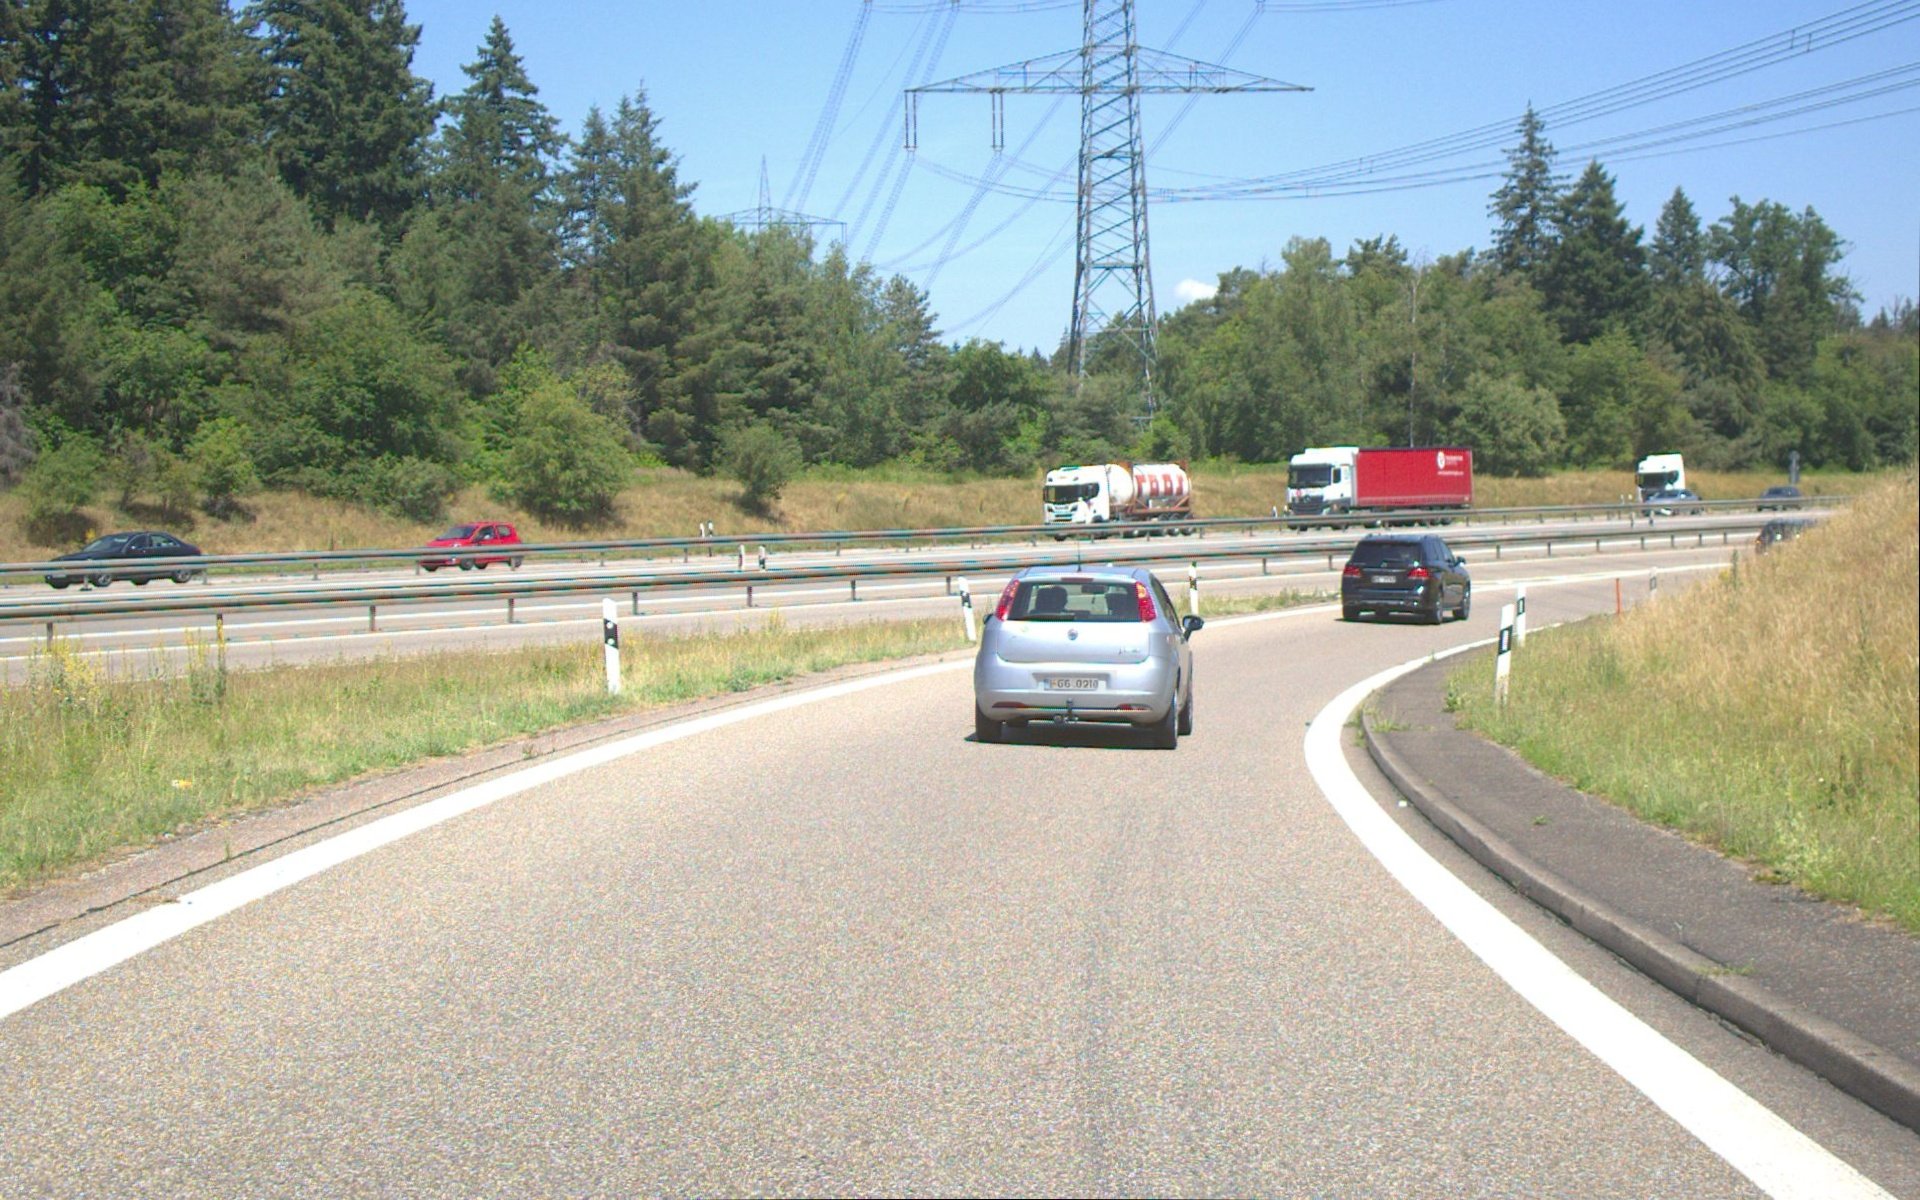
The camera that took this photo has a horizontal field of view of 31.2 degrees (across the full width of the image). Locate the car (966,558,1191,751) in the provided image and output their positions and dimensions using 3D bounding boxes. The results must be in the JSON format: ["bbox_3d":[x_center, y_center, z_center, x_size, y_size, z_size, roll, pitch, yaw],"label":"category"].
[{"bbox_3d":[1.055,0.414,29.119,1.706,1.476,3.397,2,1,5],"label":"car"}]

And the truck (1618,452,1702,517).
[{"bbox_3d":[47.850,-7.886,234.839,2.865,4.330,7.516,1,2,34],"label":"truck"}]

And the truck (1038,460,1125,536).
[{"bbox_3d":[6.255,-5.279,176.508,2.773,3.784,3.993,1,4,34],"label":"truck"}]

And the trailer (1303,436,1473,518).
[{"bbox_3d":[21.664,-6.252,173.038,2.546,3.784,13.716,1,4,34],"label":"trailer"}]

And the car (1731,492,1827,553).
[{"bbox_3d":[24.519,-2.341,102.828,1.884,1.678,3.995,-2,1,26],"label":"car"}]

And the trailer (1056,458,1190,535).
[{"bbox_3d":[8.587,-5.469,179.940,2.778,3.784,8.920,1,4,34],"label":"trailer"}]

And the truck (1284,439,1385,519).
[{"bbox_3d":[18.357,-5.933,168.138,2.546,3.784,5.658,1,4,34],"label":"truck"}]

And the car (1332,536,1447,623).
[{"bbox_3d":[8.586,-0.423,68.505,1.708,1.670,3.395,1,1,17],"label":"car"}]

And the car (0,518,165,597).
[{"bbox_3d":[-23.237,-1.143,90.230,1.997,1.842,4.350,0,4,34],"label":"car"}]

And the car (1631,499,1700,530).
[{"bbox_3d":[37.734,-4.564,183.723,1.775,1.678,4.815,1,2,36],"label":"car"}]
